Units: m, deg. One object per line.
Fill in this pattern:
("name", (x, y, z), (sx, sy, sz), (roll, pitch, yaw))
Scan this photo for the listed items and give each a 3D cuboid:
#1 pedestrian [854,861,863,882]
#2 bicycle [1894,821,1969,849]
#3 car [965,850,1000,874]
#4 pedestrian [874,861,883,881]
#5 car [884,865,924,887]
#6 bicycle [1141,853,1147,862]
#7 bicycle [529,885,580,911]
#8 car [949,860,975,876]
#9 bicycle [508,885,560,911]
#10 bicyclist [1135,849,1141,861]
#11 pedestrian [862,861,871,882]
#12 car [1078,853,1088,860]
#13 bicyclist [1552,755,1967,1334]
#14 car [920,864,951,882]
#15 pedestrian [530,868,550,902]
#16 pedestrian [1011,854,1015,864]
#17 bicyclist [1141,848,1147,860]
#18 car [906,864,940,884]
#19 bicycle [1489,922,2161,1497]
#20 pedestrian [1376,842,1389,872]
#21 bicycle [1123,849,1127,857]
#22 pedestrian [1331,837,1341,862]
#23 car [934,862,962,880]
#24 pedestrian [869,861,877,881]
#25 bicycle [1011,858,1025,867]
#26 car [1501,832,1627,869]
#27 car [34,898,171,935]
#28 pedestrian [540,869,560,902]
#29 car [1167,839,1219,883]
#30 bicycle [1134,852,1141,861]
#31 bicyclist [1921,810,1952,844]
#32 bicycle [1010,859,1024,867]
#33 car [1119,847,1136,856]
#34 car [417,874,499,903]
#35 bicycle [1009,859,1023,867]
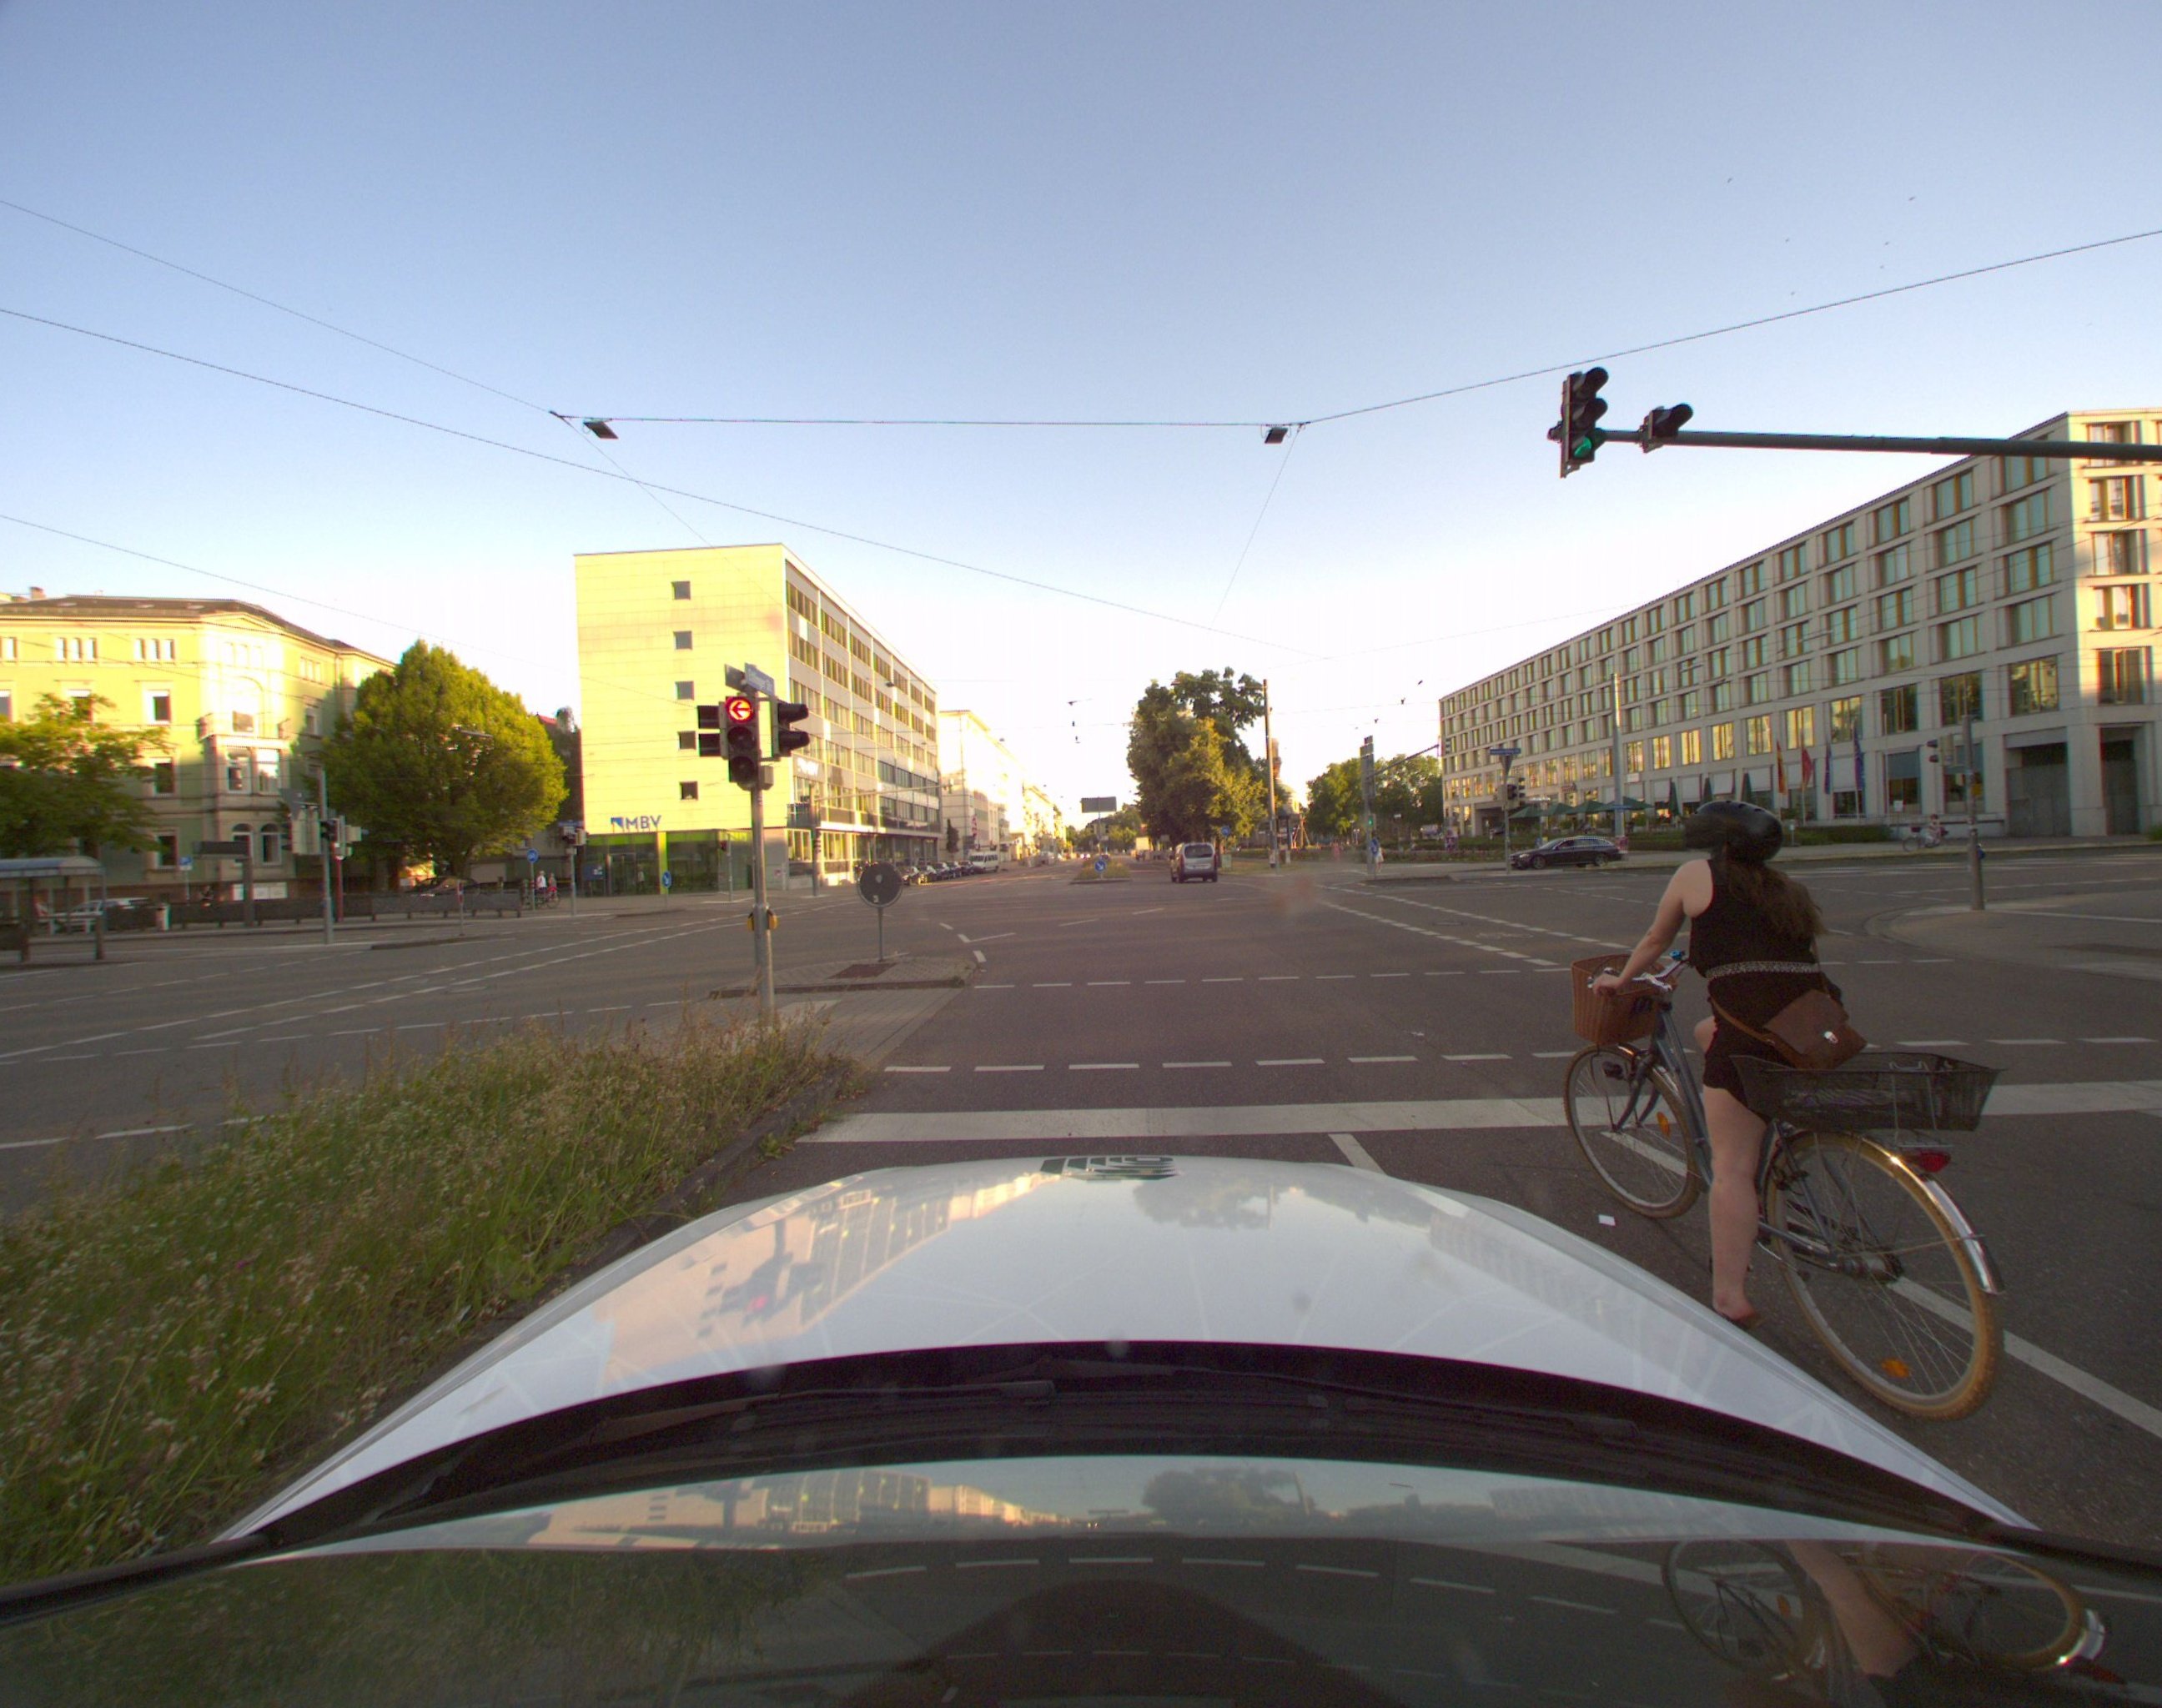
("pedestrian", (-18.454, 1.476, 67.467), (0.549, 1.679, 0.500), (-3, 0, 1))
("bicycle", (38.785, -0.868, 37.150), (2.762, 1.106, 0.602), (-3, 0, -1))
("car", (-11.065, 0.873, 91.678), (1.988, 2.478, 5.888), (-3, 0, 12))
("pedestrian", (-16.836, 1.403, 67.609), (0.549, 1.679, 0.500), (-3, 0, 1))
("car", (-13.515, 1.665, 62.392), (1.913, 1.464, 4.105), (-3, 0, 2))
("bicycle", (9.087, 0.511, 117.641), (0.744, 1.144, 2.506), (-3, 0, 2))
("bicycle", (-25.720, 2.121, 39.840), (0.832, 1.112, 2.216), (-3, 0, 6))
("car", (-12.392, 1.453, 85.243), (1.913, 1.568, 4.002), (-3, 0, 2))
("bicycle", (-26.764, 2.115, 39.875), (0.832, 1.112, 2.216), (-3, 0, 6))
("bicyclist", (8.146, 0.167, 117.290), (0.744, 1.663, 0.873), (-3, 0, 1))
("pedestrian", (-17.967, 1.478, 68.161), (0.549, 1.679, 0.500), (-3, 0, 1))
("car", (0.430, 0.525, 174.590), (1.855, 1.519, 4.003), (-3, 0, 3))
("bicyclist", (2.211, 0.540, 2.810), (0.597, 1.636, 0.999), (-1, 0, 2))
("car", (-13.111, 1.690, 73.718), (1.913, 1.464, 4.002), (-3, 0, 2))
("pedestrian", (-29.574, 1.703, 44.507), (0.641, 1.790, 0.720), (-3, 0, -12))
("pedestrian", (-13.803, 1.081, 165.440), (0.677, 2.013, 0.545), (-3, 0, 1))
("bicyclist", (9.053, -0.035, 117.489), (0.744, 1.691, 0.799), (-3, 0, 1))
("car", (-13.319, 1.652, 68.906), (1.913, 1.464, 4.002), (-3, 0, 2))
("bicycle", (2.214, 0.892, 2.853), (0.609, 1.132, 2.005), (-1, 0, 2))
("pedestrian", (15.914, 0.142, 43.018), (0.489, 1.540, 0.408), (-3, 0, 1))
("bicycle", (11.391, -0.204, 211.359), (0.892, 2.013, 4.002), (-3, 0, 2))
("pedestrian", (17.373, -0.296, 55.453), (0.458, 1.656, 0.567), (-3, 0, 1))
("car", (-12.859, 1.580, 79.020), (1.913, 1.568, 4.002), (-3, 0, 2))
("pedestrian", (-17.401, 1.411, 68.123), (0.498, 1.679, 0.500), (-3, 0, 1))
("bicycle", (-10.006, 1.312, 129.328), (2.198, 1.236, 0.839), (-3, 0, 0))
("car", (23.148, -0.181, 39.210), (4.803, 1.515, 2.002), (-3, 0, 4))
("car", (-45.169, 2.847, 37.685), (3.588, 1.372, 1.833), (-3, 0, -15))
("pedestrian", (-29.526, 1.757, 45.290), (0.641, 1.790, 0.720), (-3, 0, -12))
("car", (5.320, 0.314, 39.040), (1.757, 1.888, 4.498), (-3, 0, -1))
("bicycle", (8.157, 0.357, 117.686), (0.744, 1.144, 2.506), (-3, 0, 2))
("bicyclist", (39.052, -1.223, 37.180), (0.705, 1.537, 0.577), (-3, 0, -1))
("bicycle", (-10.009, 1.415, 127.457), (2.198, 1.112, 0.689), (-3, 0, 0))
("car", (12.113, -0.614, 212.677), (3.977, 2.013, 1.998), (-3, 0, -3))
("car", (-35.180, 1.927, 46.108), (1.830, 1.372, 3.594), (-3, 0, 0))
("bicycle", (-10.031, 1.327, 125.779), (2.198, 1.112, 0.619), (-3, 0, 0))
